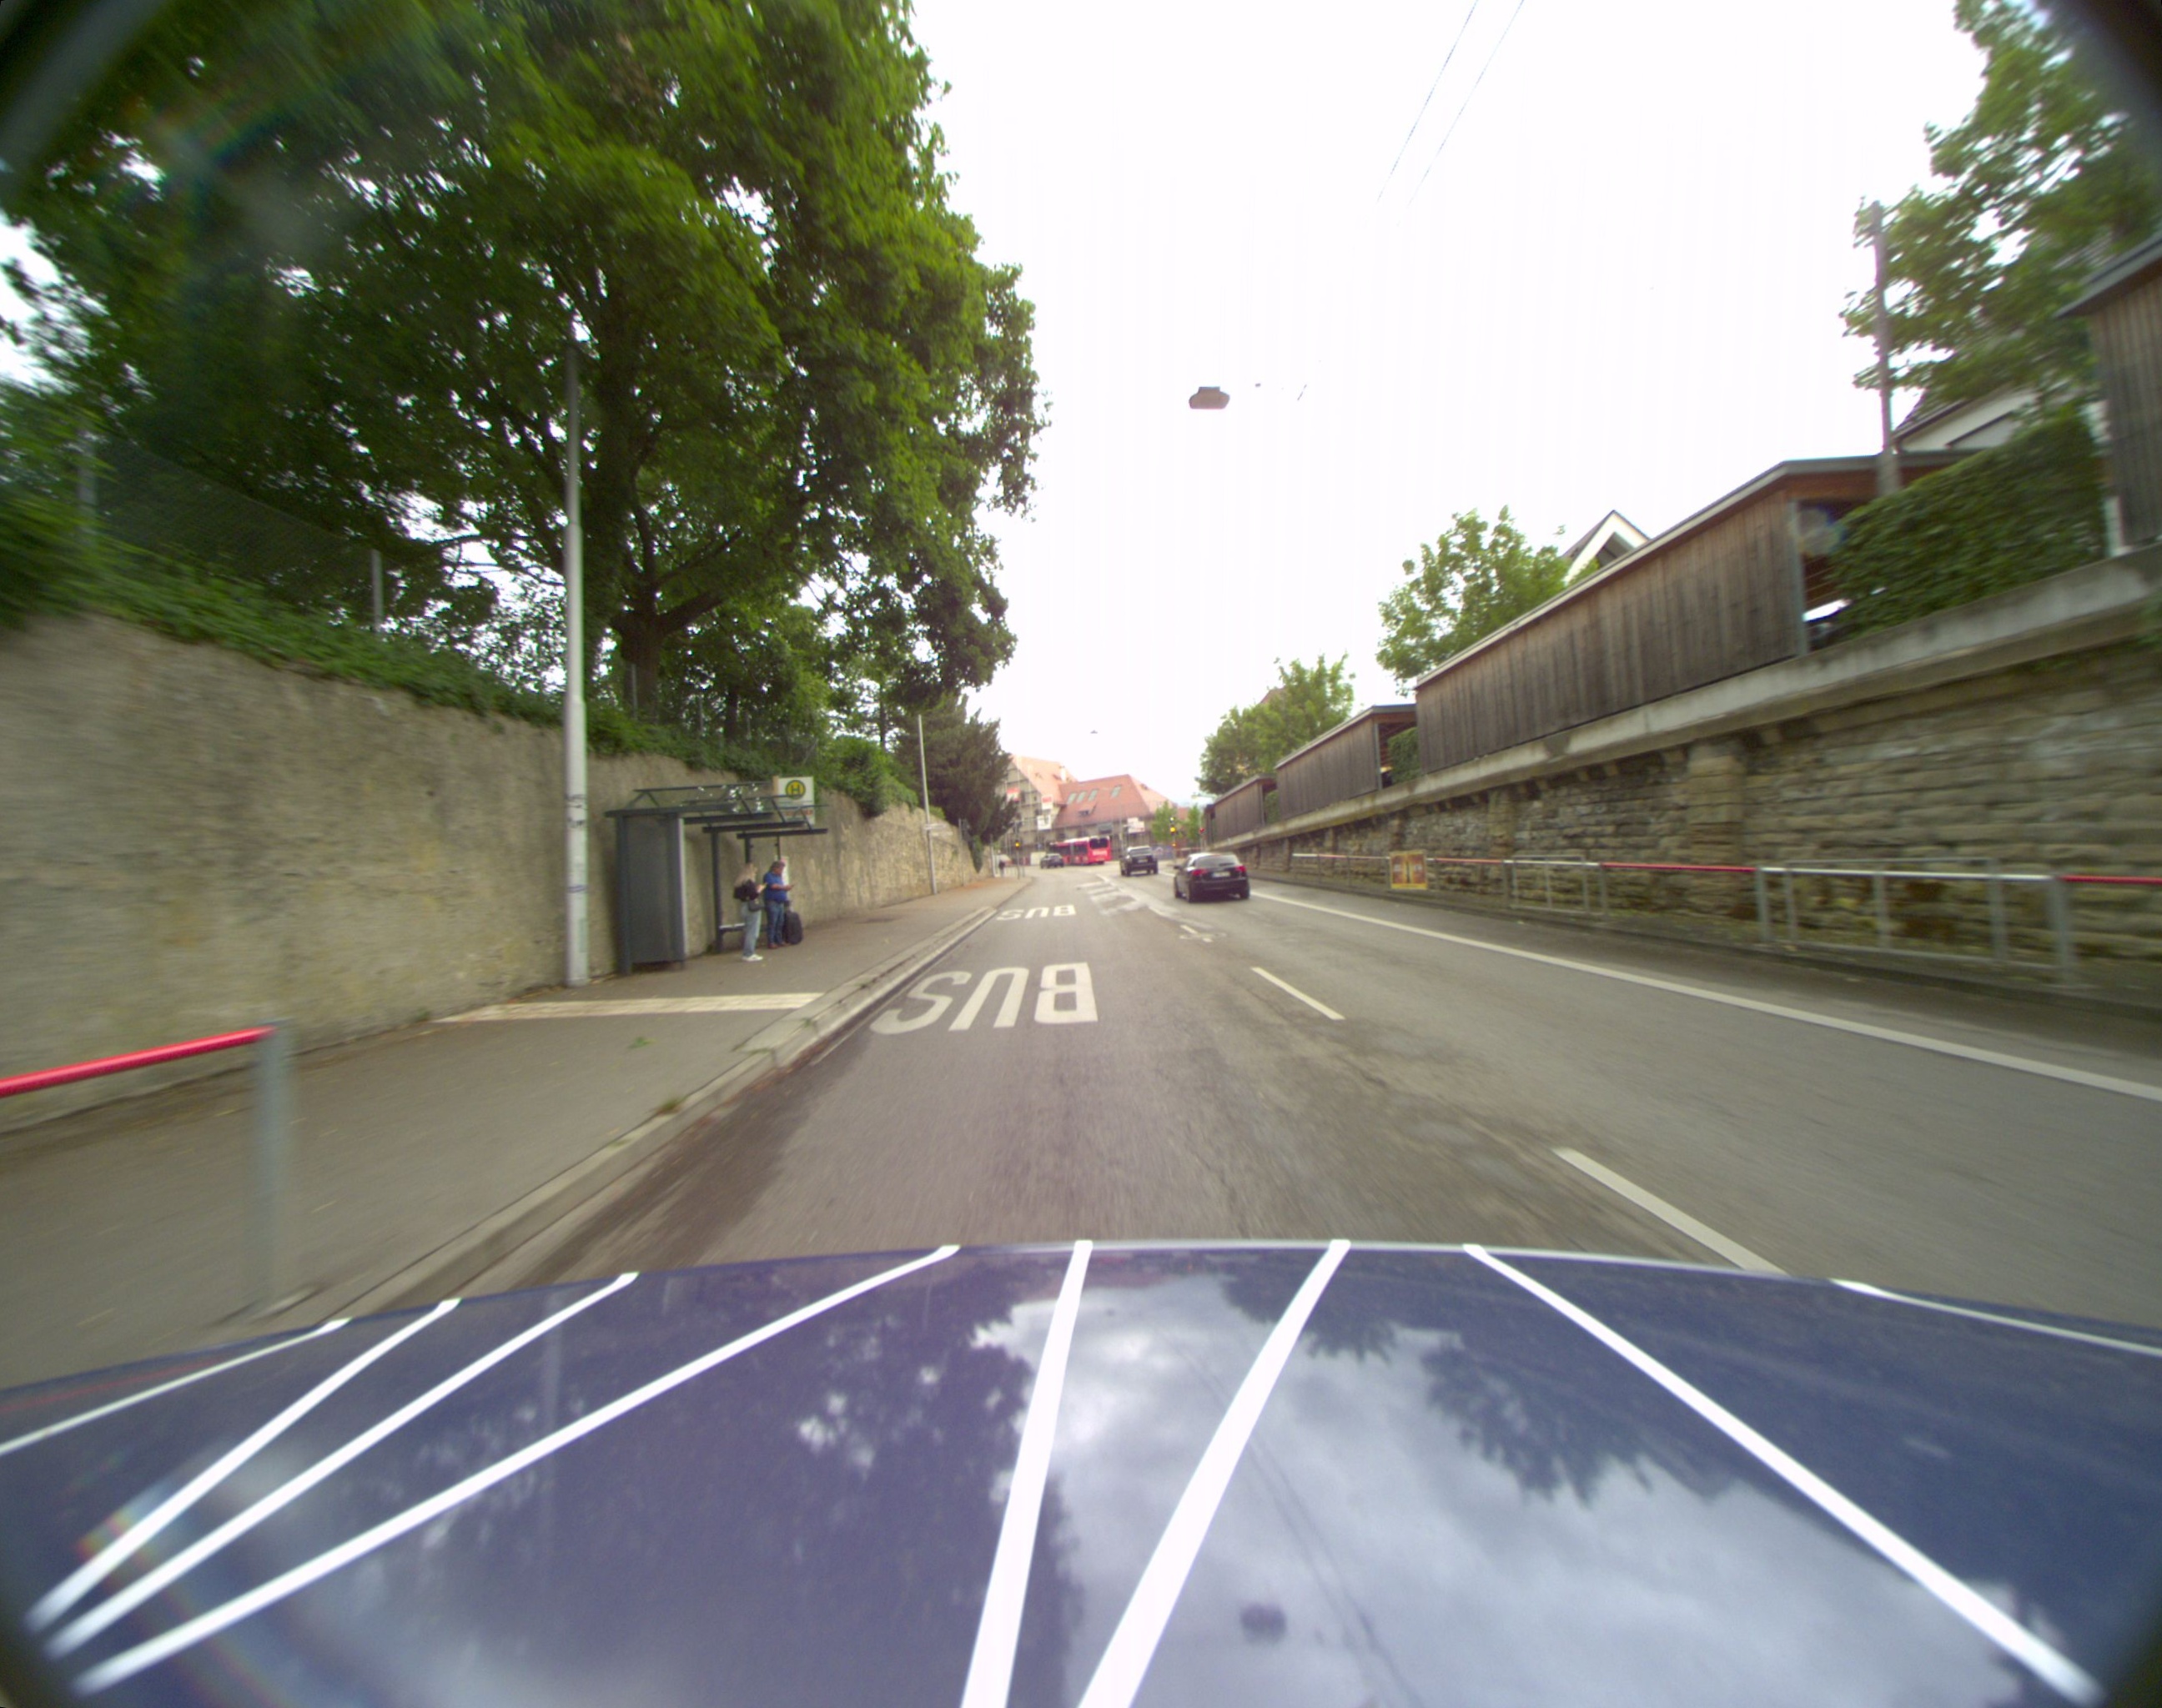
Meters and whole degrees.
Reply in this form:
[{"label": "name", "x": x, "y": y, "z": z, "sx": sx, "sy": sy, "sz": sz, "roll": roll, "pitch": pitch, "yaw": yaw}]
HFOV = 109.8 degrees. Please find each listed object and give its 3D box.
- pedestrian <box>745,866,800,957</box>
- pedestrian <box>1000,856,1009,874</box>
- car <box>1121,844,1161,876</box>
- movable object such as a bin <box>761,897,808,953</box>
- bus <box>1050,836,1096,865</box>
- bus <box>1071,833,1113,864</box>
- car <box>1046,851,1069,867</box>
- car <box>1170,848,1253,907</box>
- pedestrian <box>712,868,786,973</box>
[{"label": "pedestrian", "x": -5.815, "y": 1.068, "z": 14.358, "sx": 0.723, "sy": 1.633, "sz": 0.630, "roll": -3, "pitch": 1, "yaw": -6}, {"label": "pedestrian", "x": -6.575, "y": 0.955, "z": 65.509, "sx": 0.733, "sy": 1.567, "sz": 0.743, "roll": -2, "pitch": 0, "yaw": -4}, {"label": "car", "x": 3.646, "y": 0.321, "z": 46.583, "sx": 1.899, "sy": 1.746, "sz": 4.436, "roll": -3, "pitch": 1, "yaw": -1}, {"label": "movable object such as a bin", "x": -5.854, "y": 1.393, "z": 15.032, "sx": 0.676, "sy": 1.014, "sz": 0.626, "roll": -3, "pitch": 0, "yaw": -6}, {"label": "bus", "x": -1.138, "y": -0.370, "z": 95.079, "sx": 2.667, "sy": 3.104, "sz": 10.005, "roll": -6, "pitch": 1, "yaw": -18}, {"label": "bus", "x": 1.198, "y": -0.547, "z": 86.488, "sx": 2.667, "sy": 3.104, "sz": 8.284, "roll": -6, "pitch": 1, "yaw": -12}, {"label": "car", "x": -2.737, "y": 0.519, "z": 88.705, "sx": 1.928, "sy": 1.621, "sz": 4.518, "roll": -7, "pitch": 1, "yaw": -10}, {"label": "car", "x": 3.881, "y": 0.642, "z": 23.181, "sx": 1.739, "sy": 1.524, "sz": 3.999, "roll": -3, "pitch": 1, "yaw": -1}, {"label": "pedestrian", "x": -5.279, "y": 1.036, "z": 12.084, "sx": 0.735, "sy": 1.578, "sz": 0.775, "roll": -2, "pitch": 0, "yaw": 40}]
